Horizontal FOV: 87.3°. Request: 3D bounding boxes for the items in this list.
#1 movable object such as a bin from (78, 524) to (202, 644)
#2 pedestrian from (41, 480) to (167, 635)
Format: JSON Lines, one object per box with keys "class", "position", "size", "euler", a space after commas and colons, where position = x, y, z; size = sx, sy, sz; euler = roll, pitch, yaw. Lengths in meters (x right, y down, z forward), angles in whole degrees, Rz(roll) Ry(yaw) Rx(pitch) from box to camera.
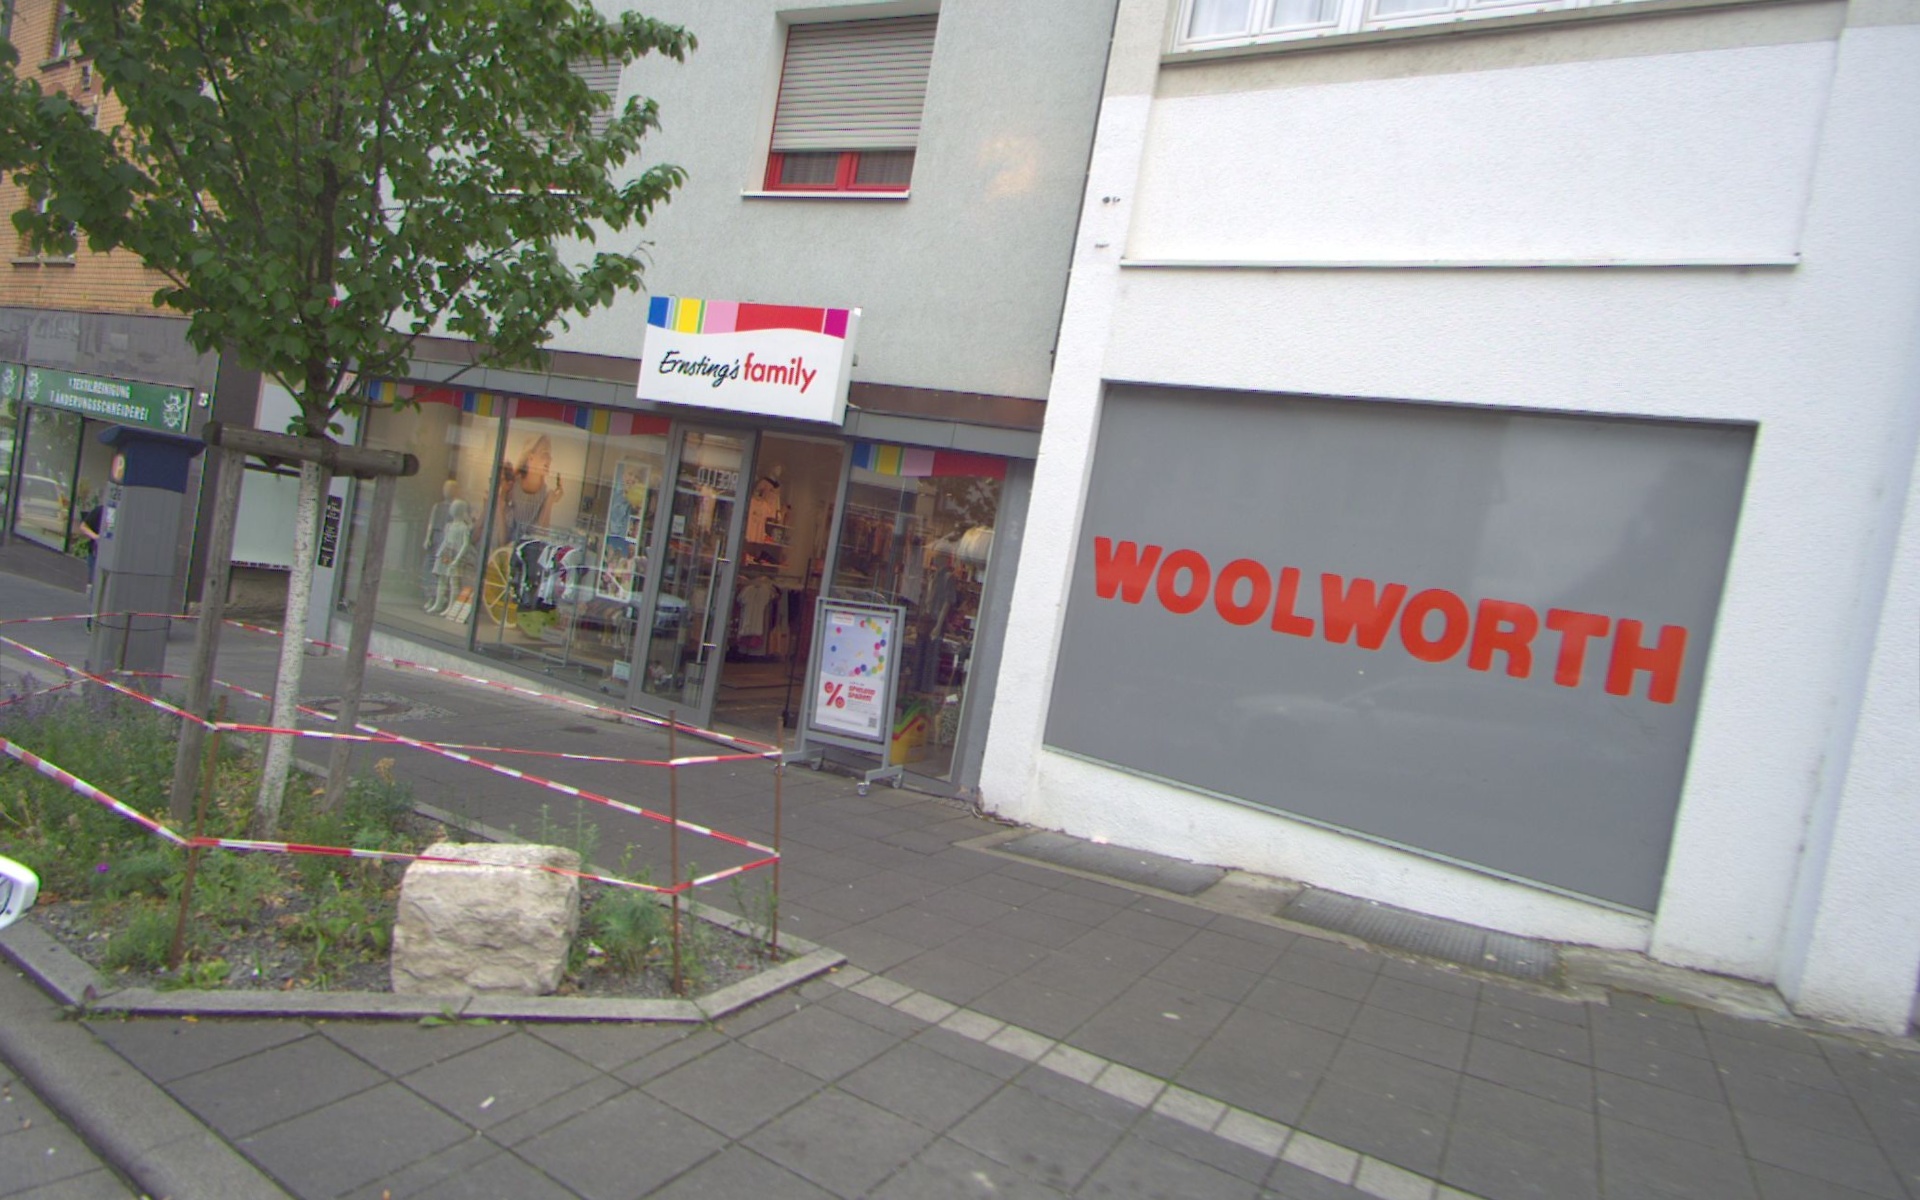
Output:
{"class": "movable object such as a bin", "position": [-8.816, -0.168, 10.816], "size": [0.891, 1.173, 0.722], "euler": [7, 3, 30]}
{"class": "pedestrian", "position": [-9.571, -0.470, 11.247], "size": [0.983, 1.606, 0.735], "euler": [7, 3, 30]}
